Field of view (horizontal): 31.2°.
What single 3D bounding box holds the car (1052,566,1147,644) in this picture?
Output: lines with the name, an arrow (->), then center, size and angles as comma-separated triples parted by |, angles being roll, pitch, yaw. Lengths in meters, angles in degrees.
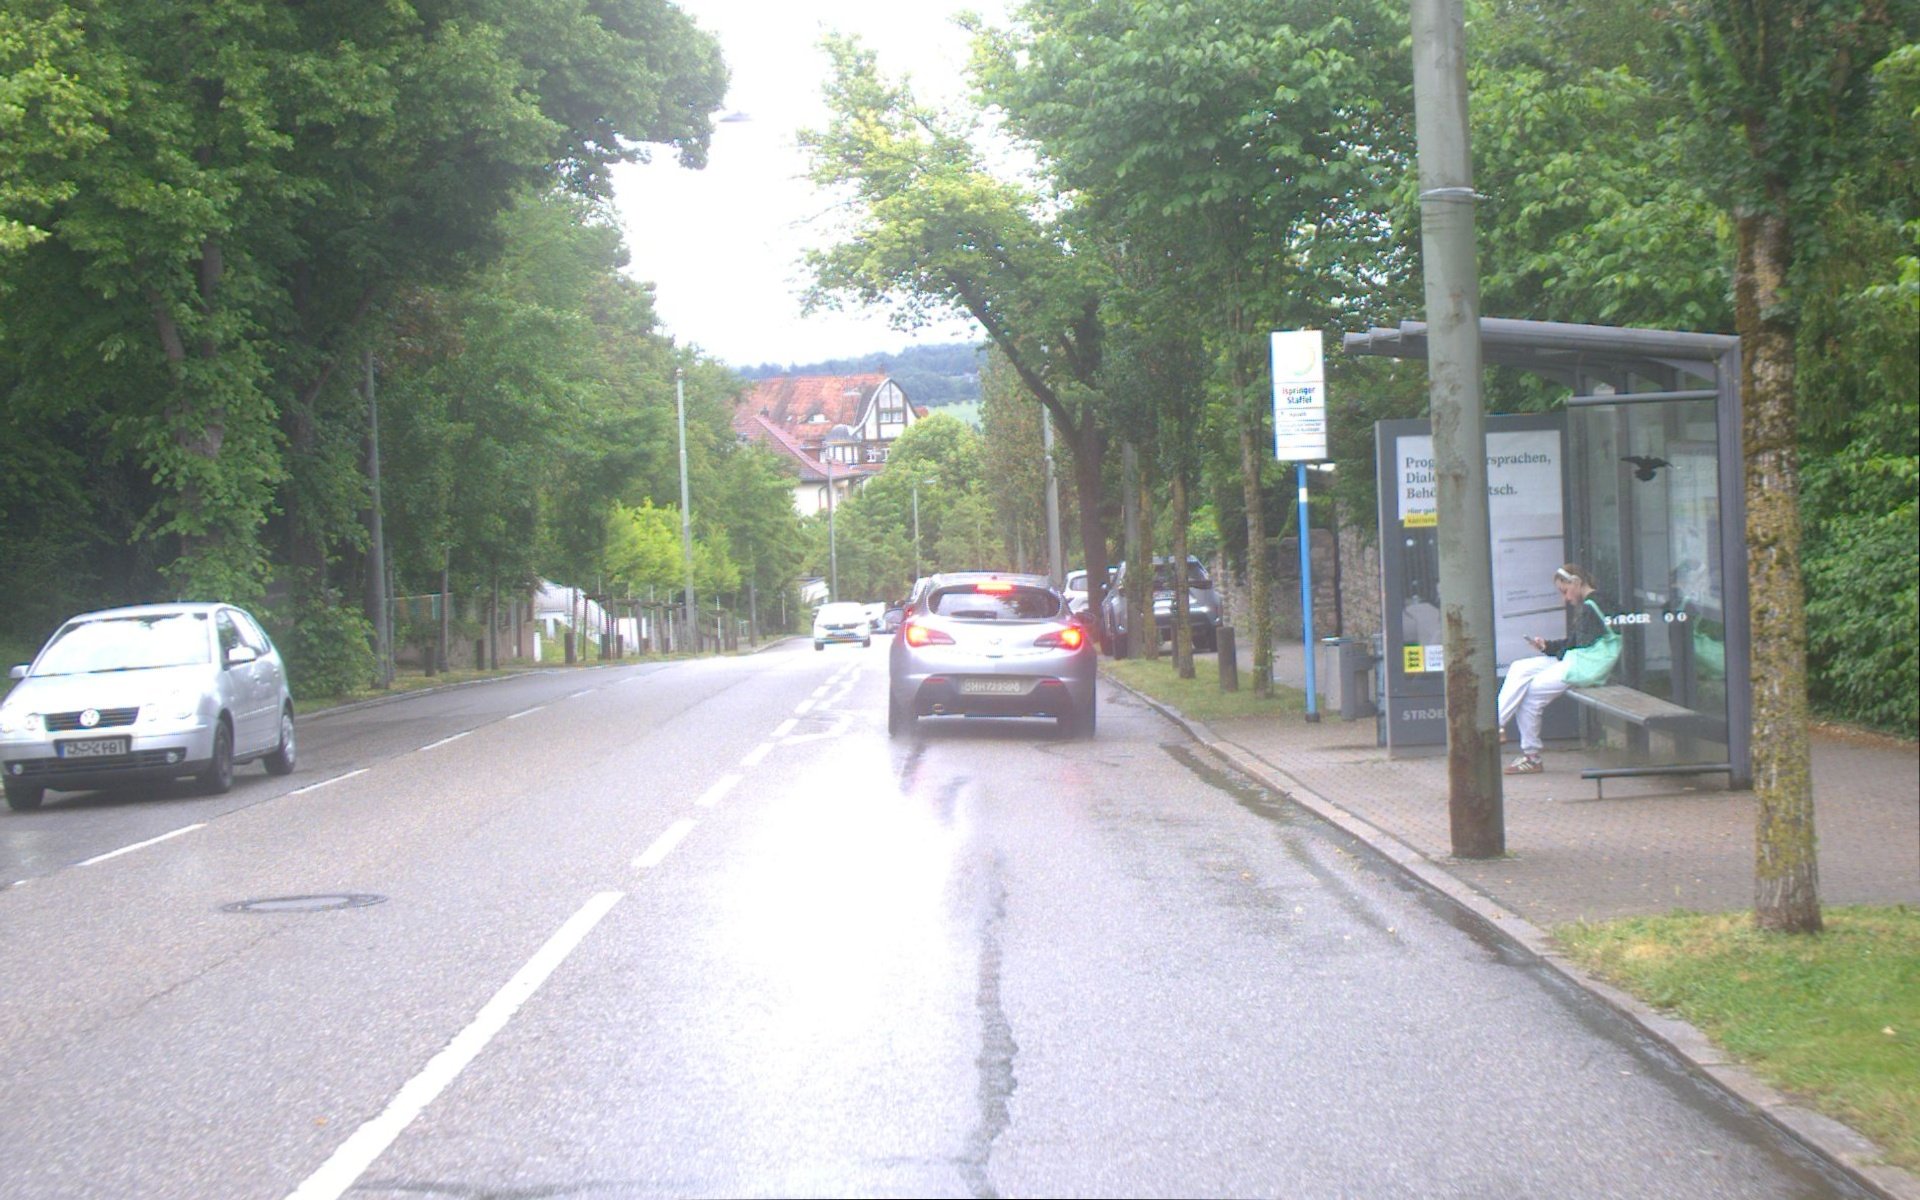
car -> 2.823, 0.083, 70.323 | 1.721, 1.459, 4.000 | -3, 1, 0

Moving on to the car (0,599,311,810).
car -> -6.280, 0.753, 26.542 | 1.721, 1.394, 4.000 | -3, 1, 0

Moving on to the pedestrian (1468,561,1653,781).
pedestrian -> 3.888, 0.450, 22.326 | 1.074, 1.351, 0.918 | -3, 0, 7

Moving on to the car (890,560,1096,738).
car -> 0.294, 0.396, 31.477 | 1.754, 1.459, 4.000 | 1, 1, 0

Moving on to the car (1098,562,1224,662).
car -> 3.188, 0.164, 55.161 | 1.721, 1.459, 4.000 | -3, 1, 0

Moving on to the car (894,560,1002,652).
car -> -0.196, 0.131, 58.440 | 1.754, 1.459, 4.000 | 1, -1, 0

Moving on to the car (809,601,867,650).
car -> -3.978, 0.809, 112.542 | 1.721, 1.459, 4.000 | 2, 1, 0
